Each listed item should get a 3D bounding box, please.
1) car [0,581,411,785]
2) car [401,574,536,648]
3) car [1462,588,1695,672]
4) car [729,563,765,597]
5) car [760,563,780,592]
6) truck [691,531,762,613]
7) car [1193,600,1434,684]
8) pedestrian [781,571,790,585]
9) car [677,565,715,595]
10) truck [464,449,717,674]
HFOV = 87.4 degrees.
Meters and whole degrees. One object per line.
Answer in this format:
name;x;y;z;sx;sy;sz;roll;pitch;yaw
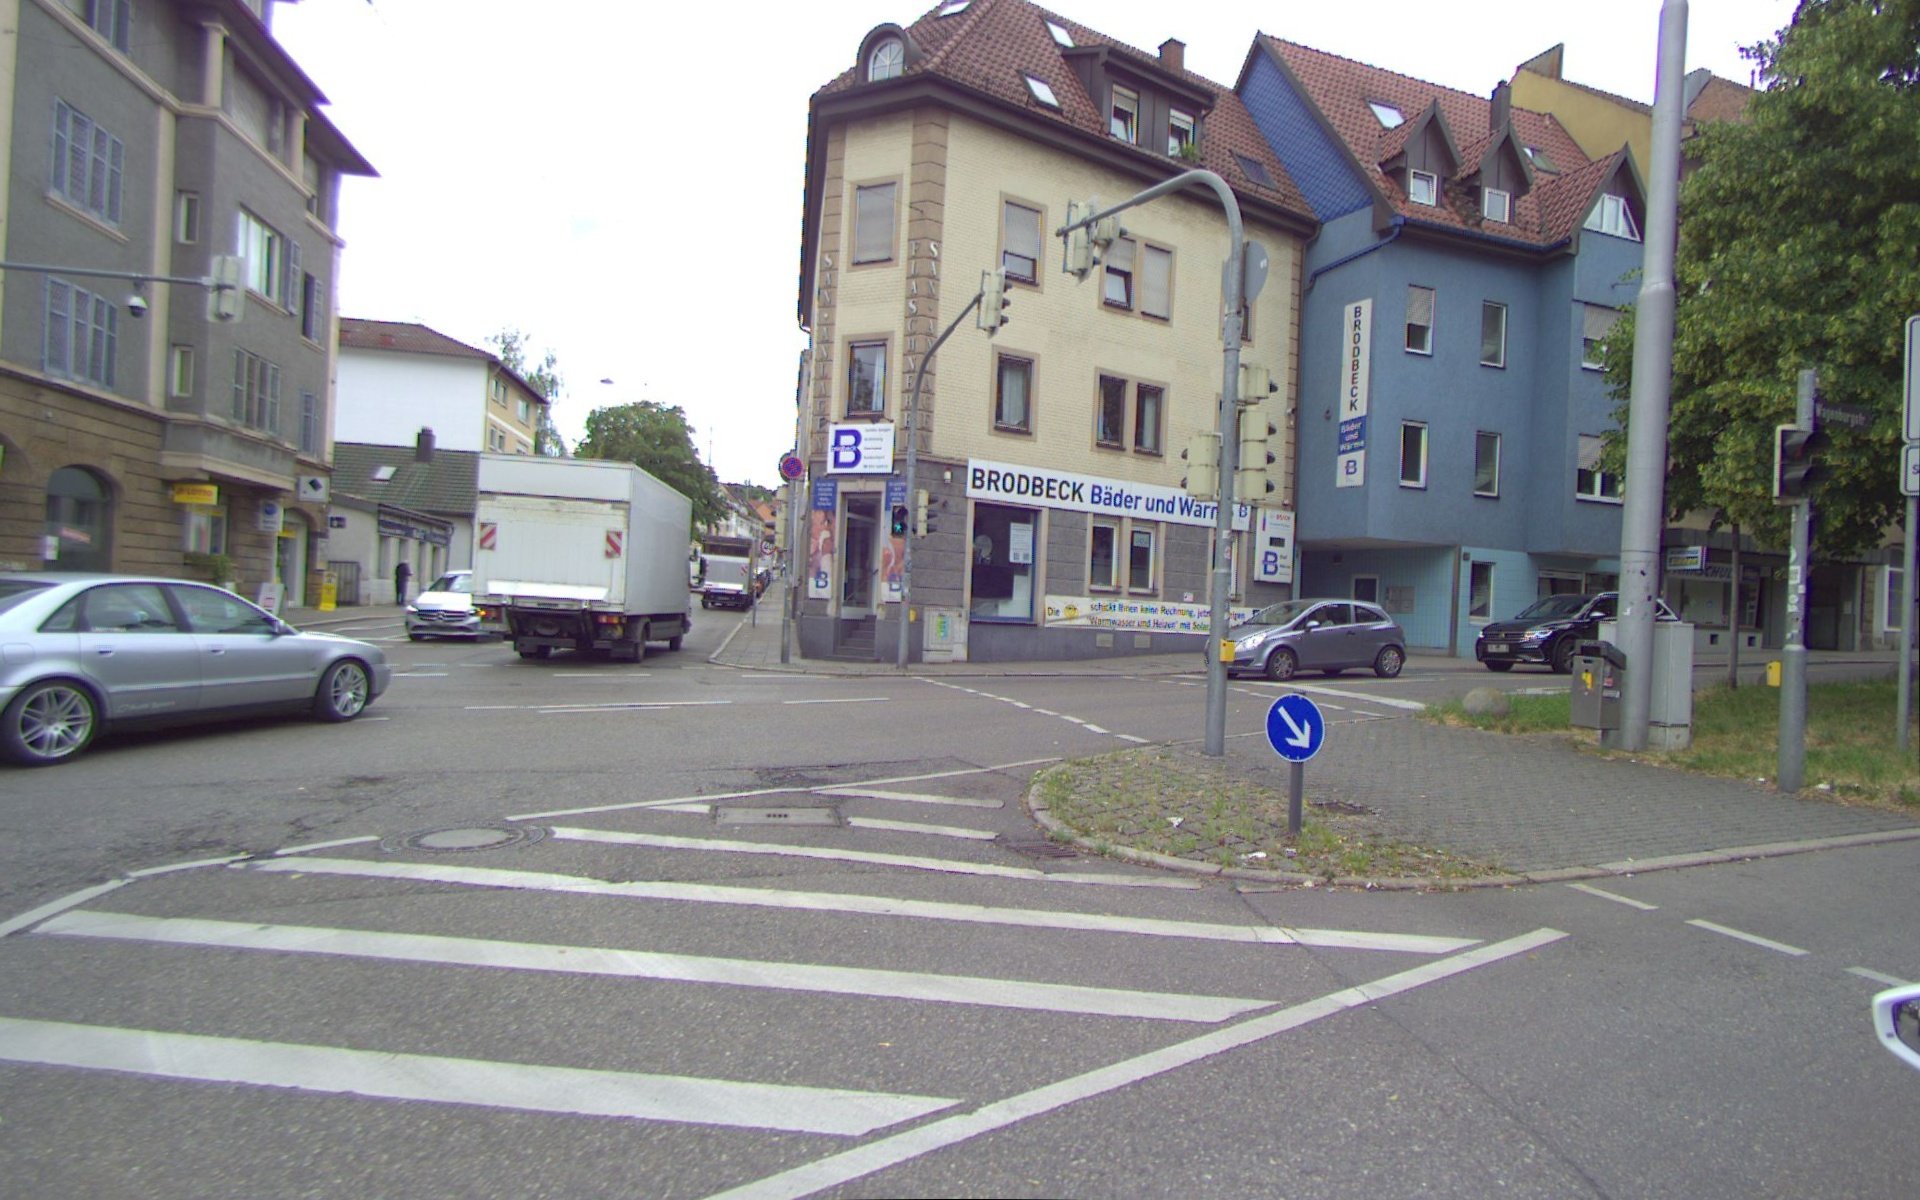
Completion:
car;-7.006;0.553;8.475;1.672;1.360;4.269;2;1;14
car;-11.137;0.219;23.055;1.622;1.493;4.047;2;0;-9
car;13.128;0.659;21.332;4.610;1.658;1.813;1;-2;-21
car;-13.564;-1.242;64.127;1.964;2.040;3.993;2;0;-10
car;-20.651;-2.404;109.159;1.964;3.052;4.103;2;0;-10
truck;-11.182;-1.256;48.692;2.662;3.486;8.500;2;0;-9
car;6.610;0.721;18.743;4.232;1.425;1.665;0;-1;-23
pedestrian;-24.376;-3.095;139.962;1.166;1.931;1.276;2;0;-11
car;-17.211;-1.290;65.666;1.964;1.820;3.993;2;0;-10
truck;-7.160;-0.638;20.959;2.659;3.622;8.508;2;0;-5
